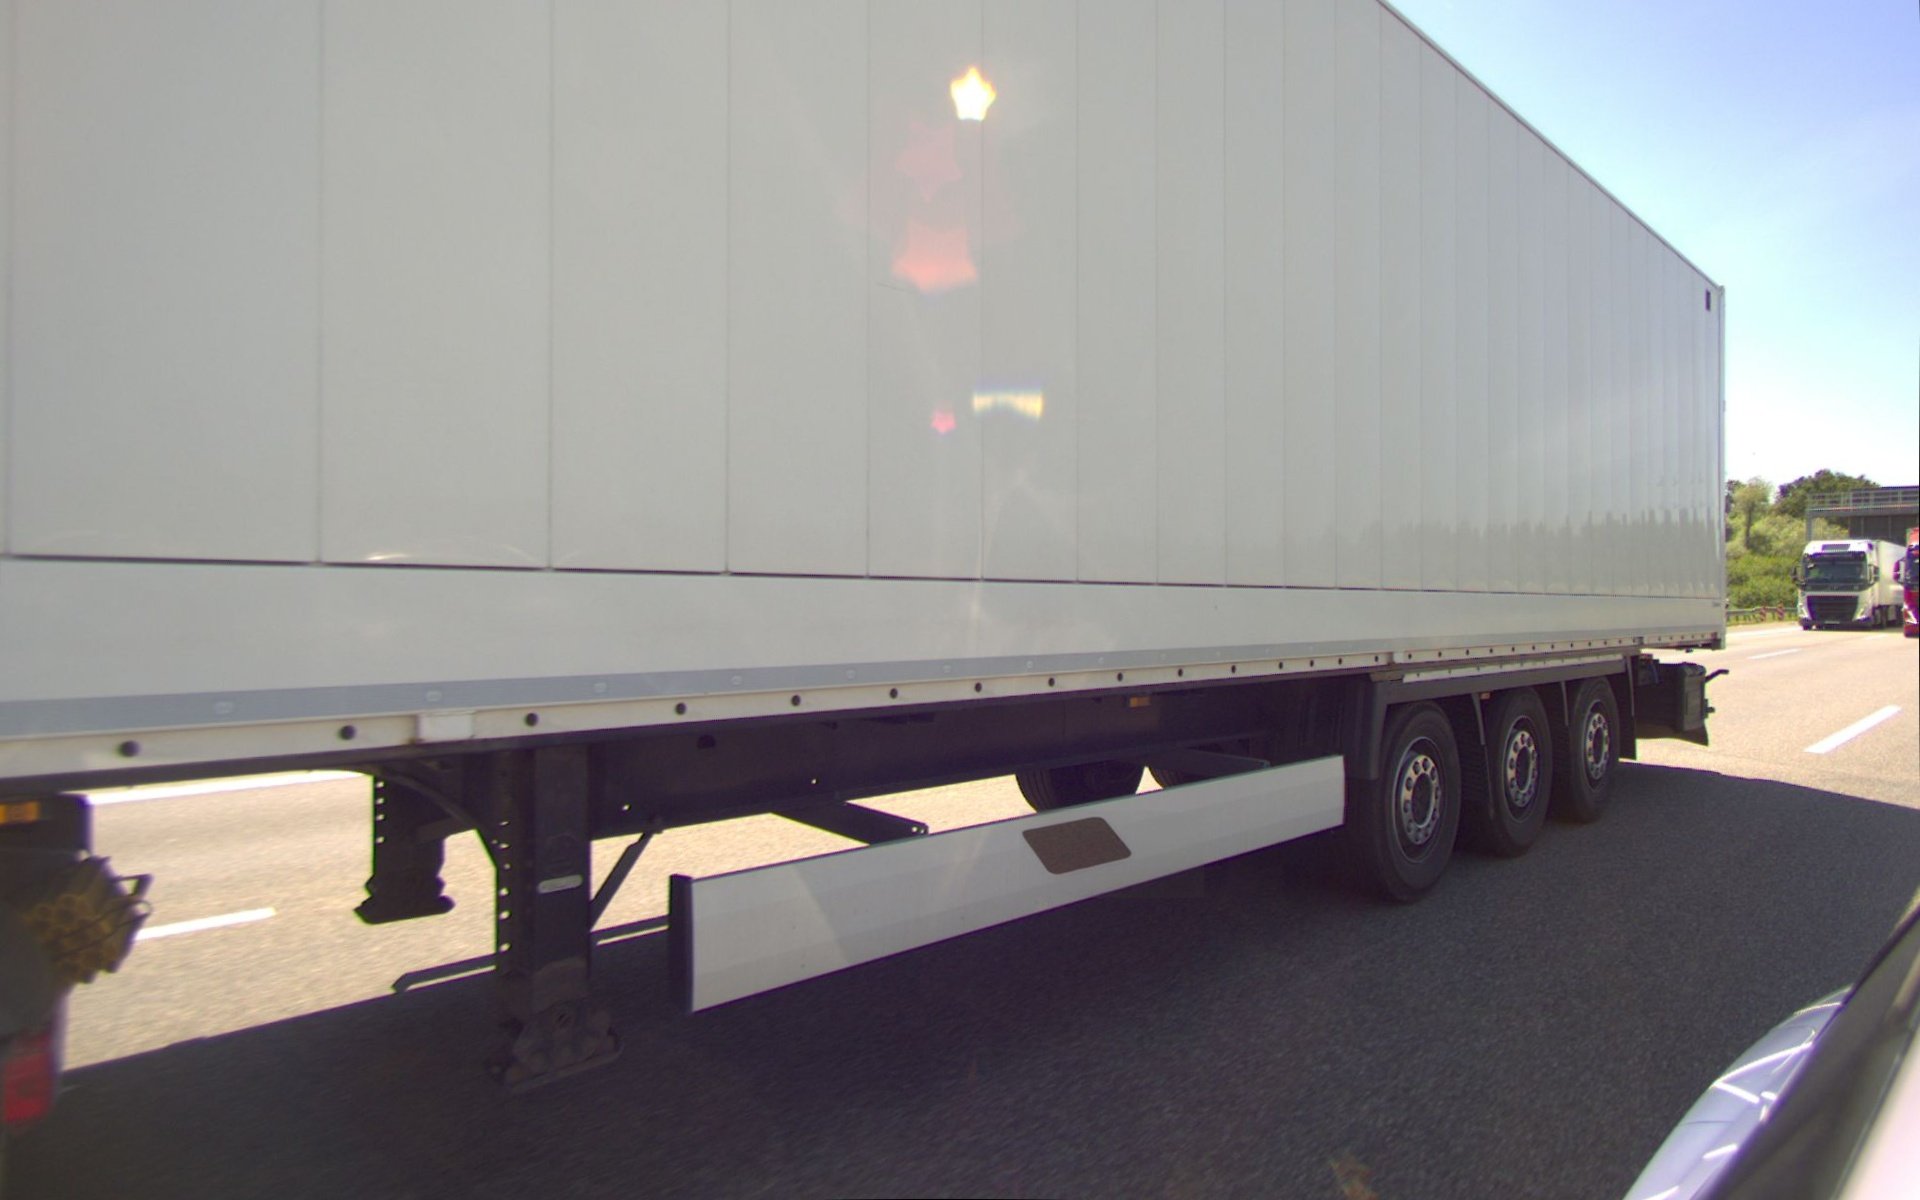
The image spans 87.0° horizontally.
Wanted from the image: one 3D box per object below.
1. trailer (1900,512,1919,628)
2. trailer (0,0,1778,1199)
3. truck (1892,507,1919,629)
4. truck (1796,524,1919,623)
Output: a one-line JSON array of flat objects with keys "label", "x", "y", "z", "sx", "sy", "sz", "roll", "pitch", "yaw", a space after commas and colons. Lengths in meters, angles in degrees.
[{"label": "trailer", "x": 40.463, "y": -1.130, "z": 40.392, "sx": 15.923, "sy": 4.068, "sz": 2.941, "roll": -1, "pitch": 0, "yaw": -42}, {"label": "trailer", "x": 1.740, "y": -0.756, "z": 5.962, "sx": 12.350, "sy": 4.086, "sz": 2.799, "roll": 0, "pitch": 1, "yaw": -42}, {"label": "truck", "x": 34.489, "y": -1.079, "z": 34.880, "sx": 5.997, "sy": 4.036, "sz": 2.945, "roll": -1, "pitch": 0, "yaw": -42}, {"label": "truck", "x": 41.961, "y": -1.156, "z": 47.075, "sx": 10.786, "sy": 4.144, "sz": 3.031, "roll": -1, "pitch": 0, "yaw": -41}]
